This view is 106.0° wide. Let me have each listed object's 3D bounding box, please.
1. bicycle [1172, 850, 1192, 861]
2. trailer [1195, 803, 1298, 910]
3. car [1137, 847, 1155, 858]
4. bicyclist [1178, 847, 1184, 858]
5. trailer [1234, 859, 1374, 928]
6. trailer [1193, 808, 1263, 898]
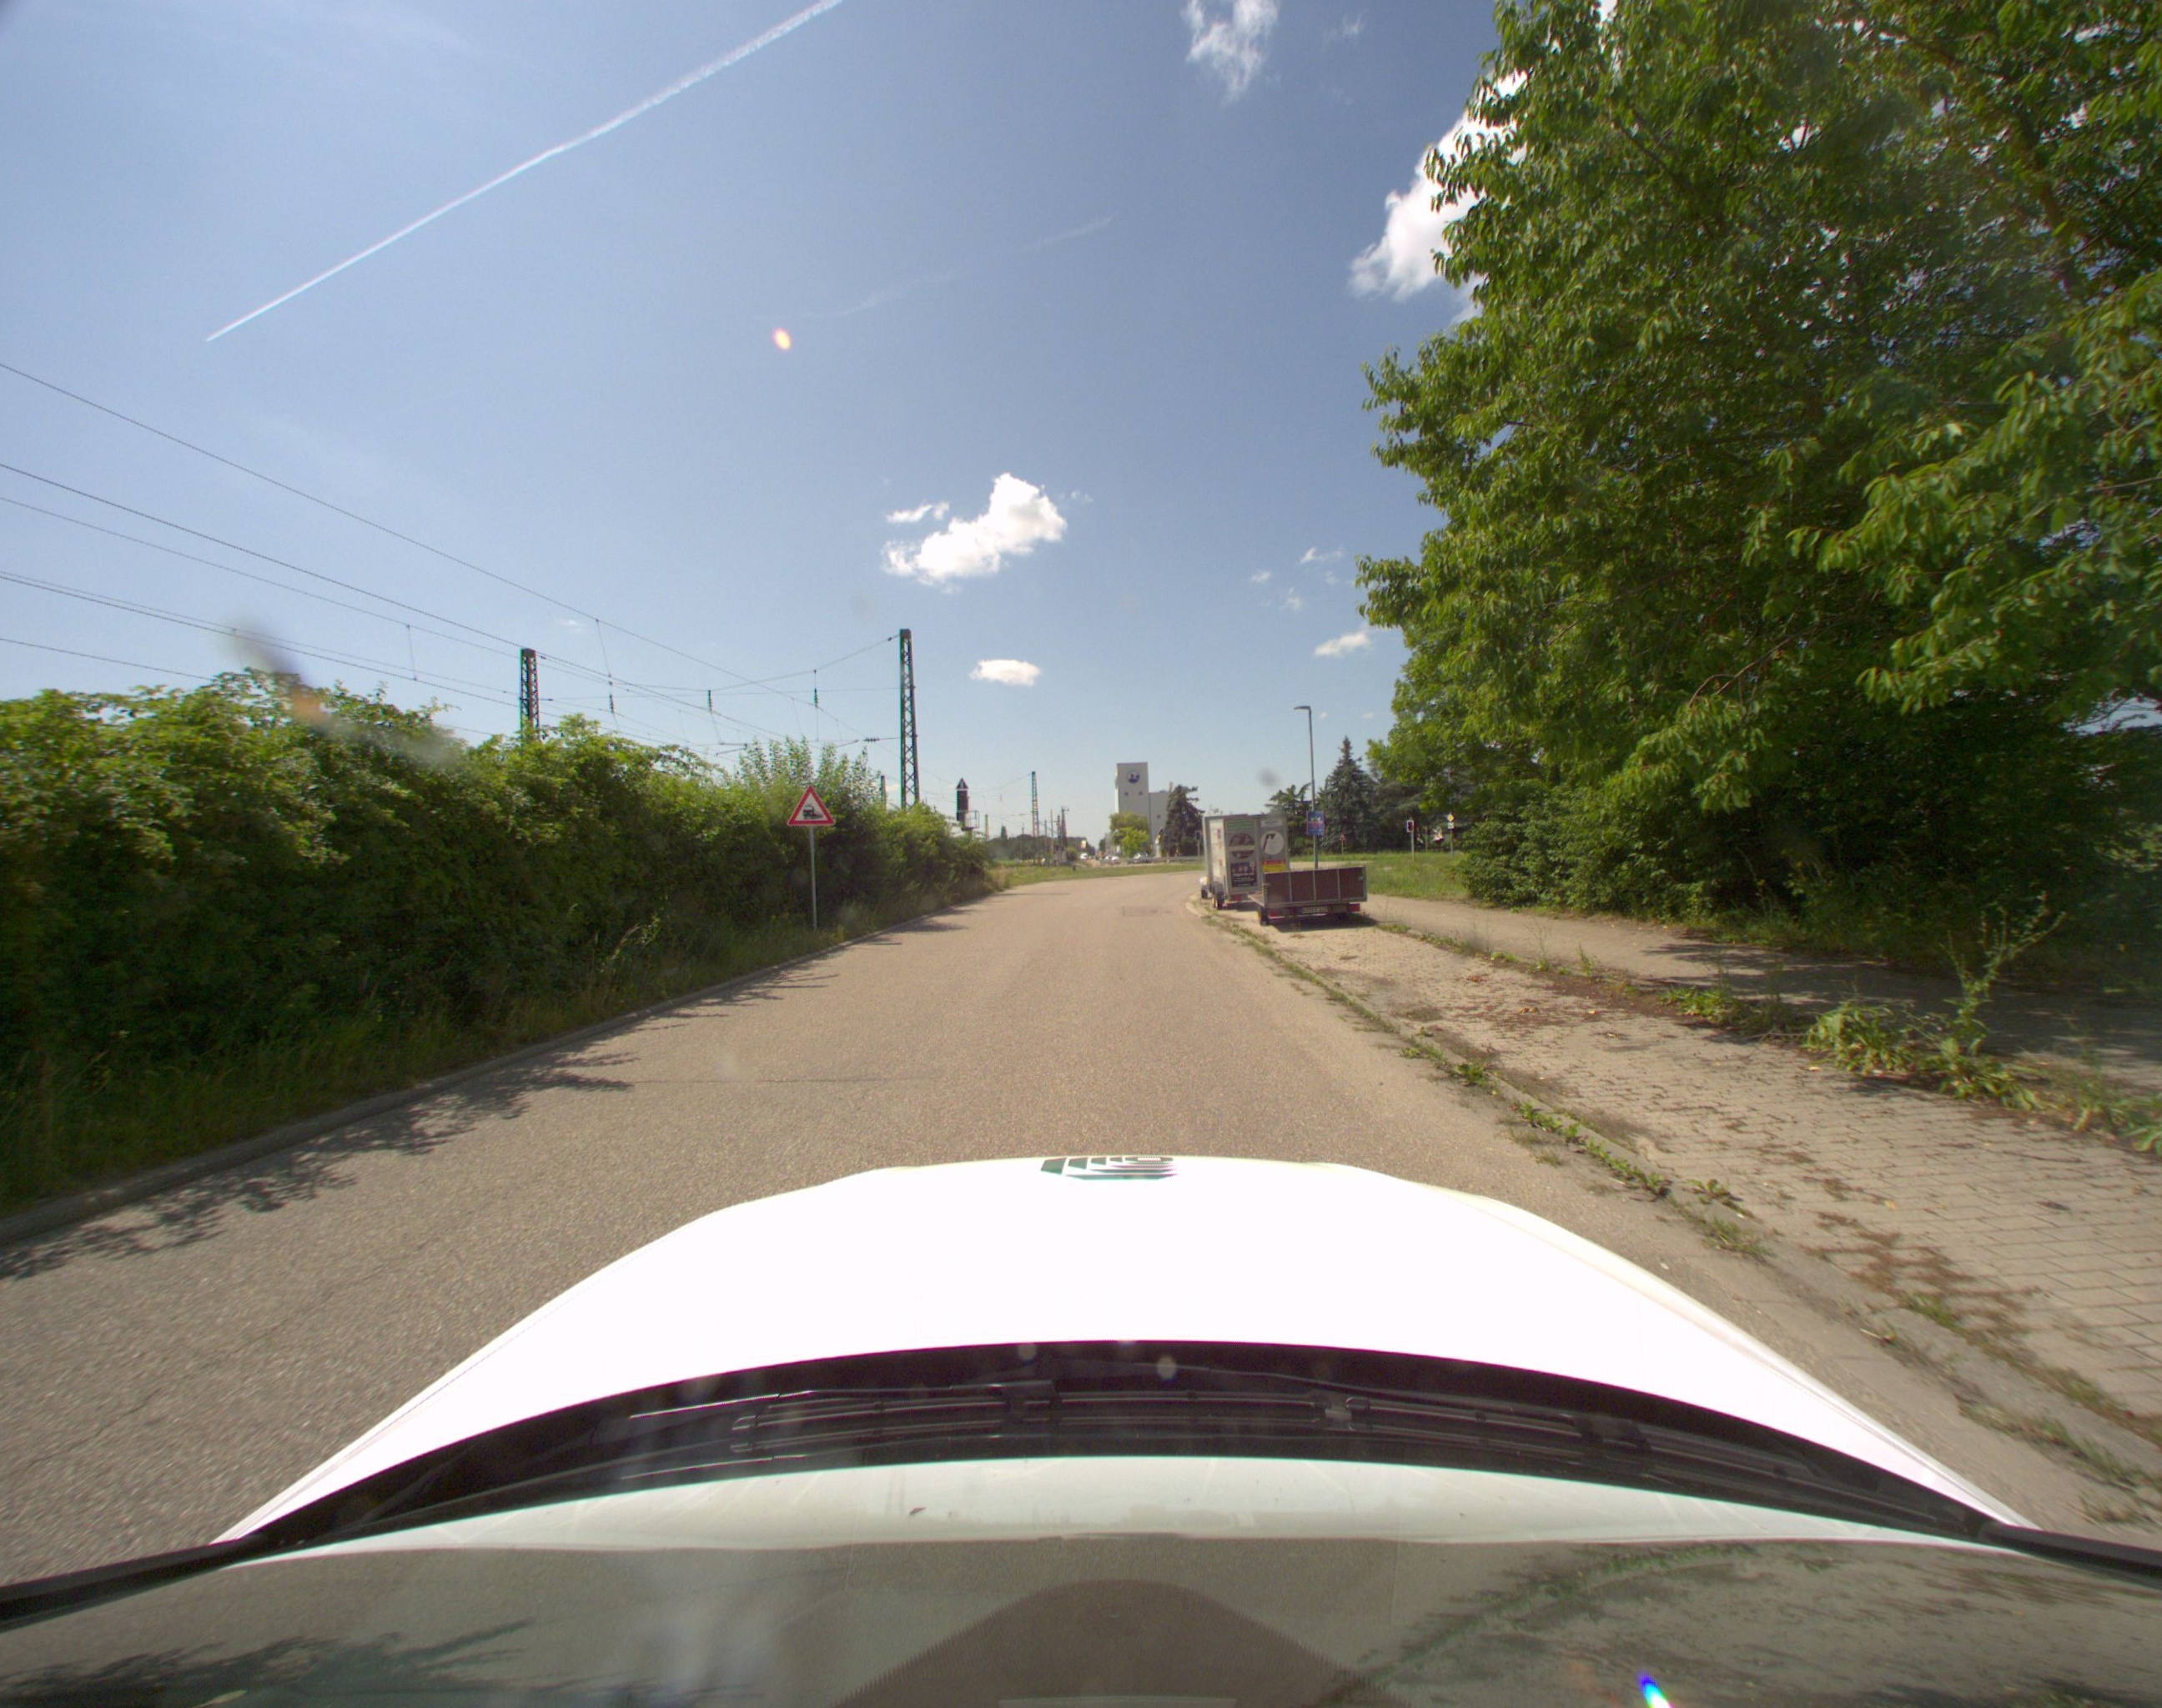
[{"bbox_3d":[11.792,0.158,94.961,2.119,1.165,0.665,-2,0,29],"label":"bicycle"},{"bbox_3d":[4.453,0.060,22.686,1.911,2.508,4.743,-4,0,2],"label":"trailer"},{"bbox_3d":[9.670,-0.160,120.680,1.990,1.510,4.448,-2,0,-4],"label":"car"},{"bbox_3d":[11.654,-0.163,95.021,0.505,1.255,0.472,-2,0,29],"label":"bicyclist"},{"bbox_3d":[4.511,0.754,17.209,1.995,1.123,4.494,-4,-1,5],"label":"trailer"},{"bbox_3d":[4.894,-0.034,27.801,1.922,2.644,5.195,-4,0,8],"label":"trailer"}]
